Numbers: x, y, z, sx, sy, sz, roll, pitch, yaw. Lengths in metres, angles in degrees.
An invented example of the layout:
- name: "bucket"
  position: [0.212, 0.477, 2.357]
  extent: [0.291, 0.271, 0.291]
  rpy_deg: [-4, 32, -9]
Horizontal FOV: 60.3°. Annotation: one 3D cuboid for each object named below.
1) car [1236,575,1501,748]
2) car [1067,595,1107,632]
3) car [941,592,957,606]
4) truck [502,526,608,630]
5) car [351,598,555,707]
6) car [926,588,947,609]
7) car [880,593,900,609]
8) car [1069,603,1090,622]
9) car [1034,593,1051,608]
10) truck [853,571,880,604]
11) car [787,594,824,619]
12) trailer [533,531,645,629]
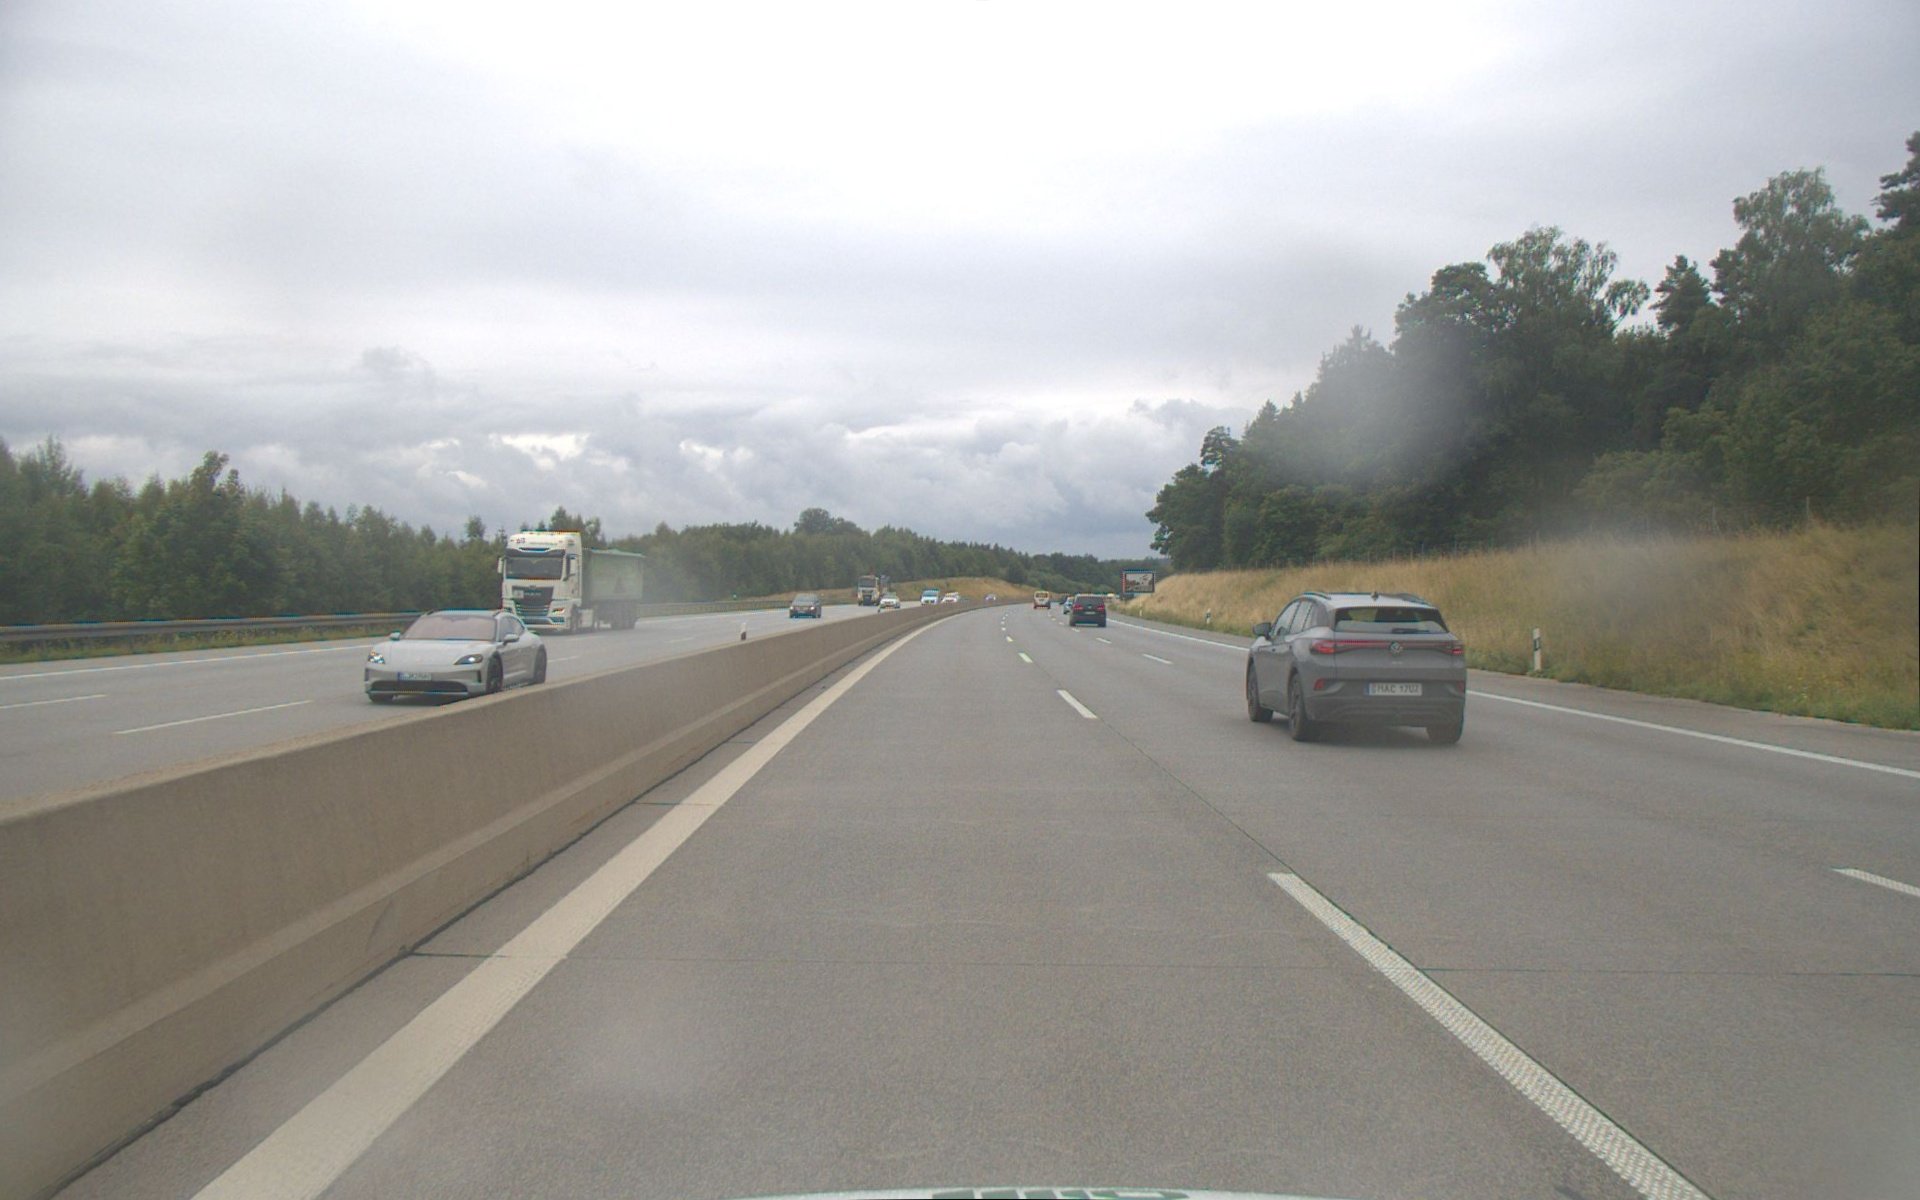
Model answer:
- name: "car"
  position: [4.627, 0.588, 19.584]
  extent: [1.859, 1.719, 5.267]
  rpy_deg: [1, 1, 0]
- name: "car"
  position: [6.705, 0.692, 87.776]
  extent: [1.748, 1.777, 3.915]
  rpy_deg: [-2, 1, 0]
- name: "car"
  position: [-1.321, -0.162, 201.303]
  extent: [1.679, 1.445, 4.215]
  rpy_deg: [3, 2, 3]
- name: "truck"
  position: [-15.648, -0.803, 64.252]
  extent: [2.694, 3.869, 5.530]
  rpy_deg: [1, 0, 0]
- name: "car"
  position: [-8.213, 0.790, 27.295]
  extent: [1.953, 1.466, 4.766]
  rpy_deg: [2, 1, -1]
- name: "car"
  position: [-2.507, -0.163, 178.316]
  extent: [1.952, 2.048, 5.526]
  rpy_deg: [2, 1, 1]
- name: "car"
  position: [-7.185, 0.102, 170.120]
  extent: [1.700, 1.391, 4.099]
  rpy_deg: [3, 2, 3]
- name: "car"
  position: [10.221, 1.031, 142.023]
  extent: [1.763, 1.490, 3.813]
  rpy_deg: [1, 2, 4]
- name: "car"
  position: [9.413, 0.013, 188.174]
  extent: [1.802, 1.526, 4.003]
  rpy_deg: [-2, 1, 4]
- name: "truck"
  position: [-10.913, -1.478, 193.960]
  extent: [2.532, 3.716, 7.662]
  rpy_deg: [0, 0, 2]
- name: "car"
  position: [-10.313, 0.422, 110.735]
  extent: [1.952, 1.617, 4.771]
  rpy_deg: [1, 0, 0]
- name: "trailer"
  position: [-15.637, -0.833, 70.390]
  extent: [2.693, 3.866, 9.315]
  rpy_deg: [0, 0, 0]
